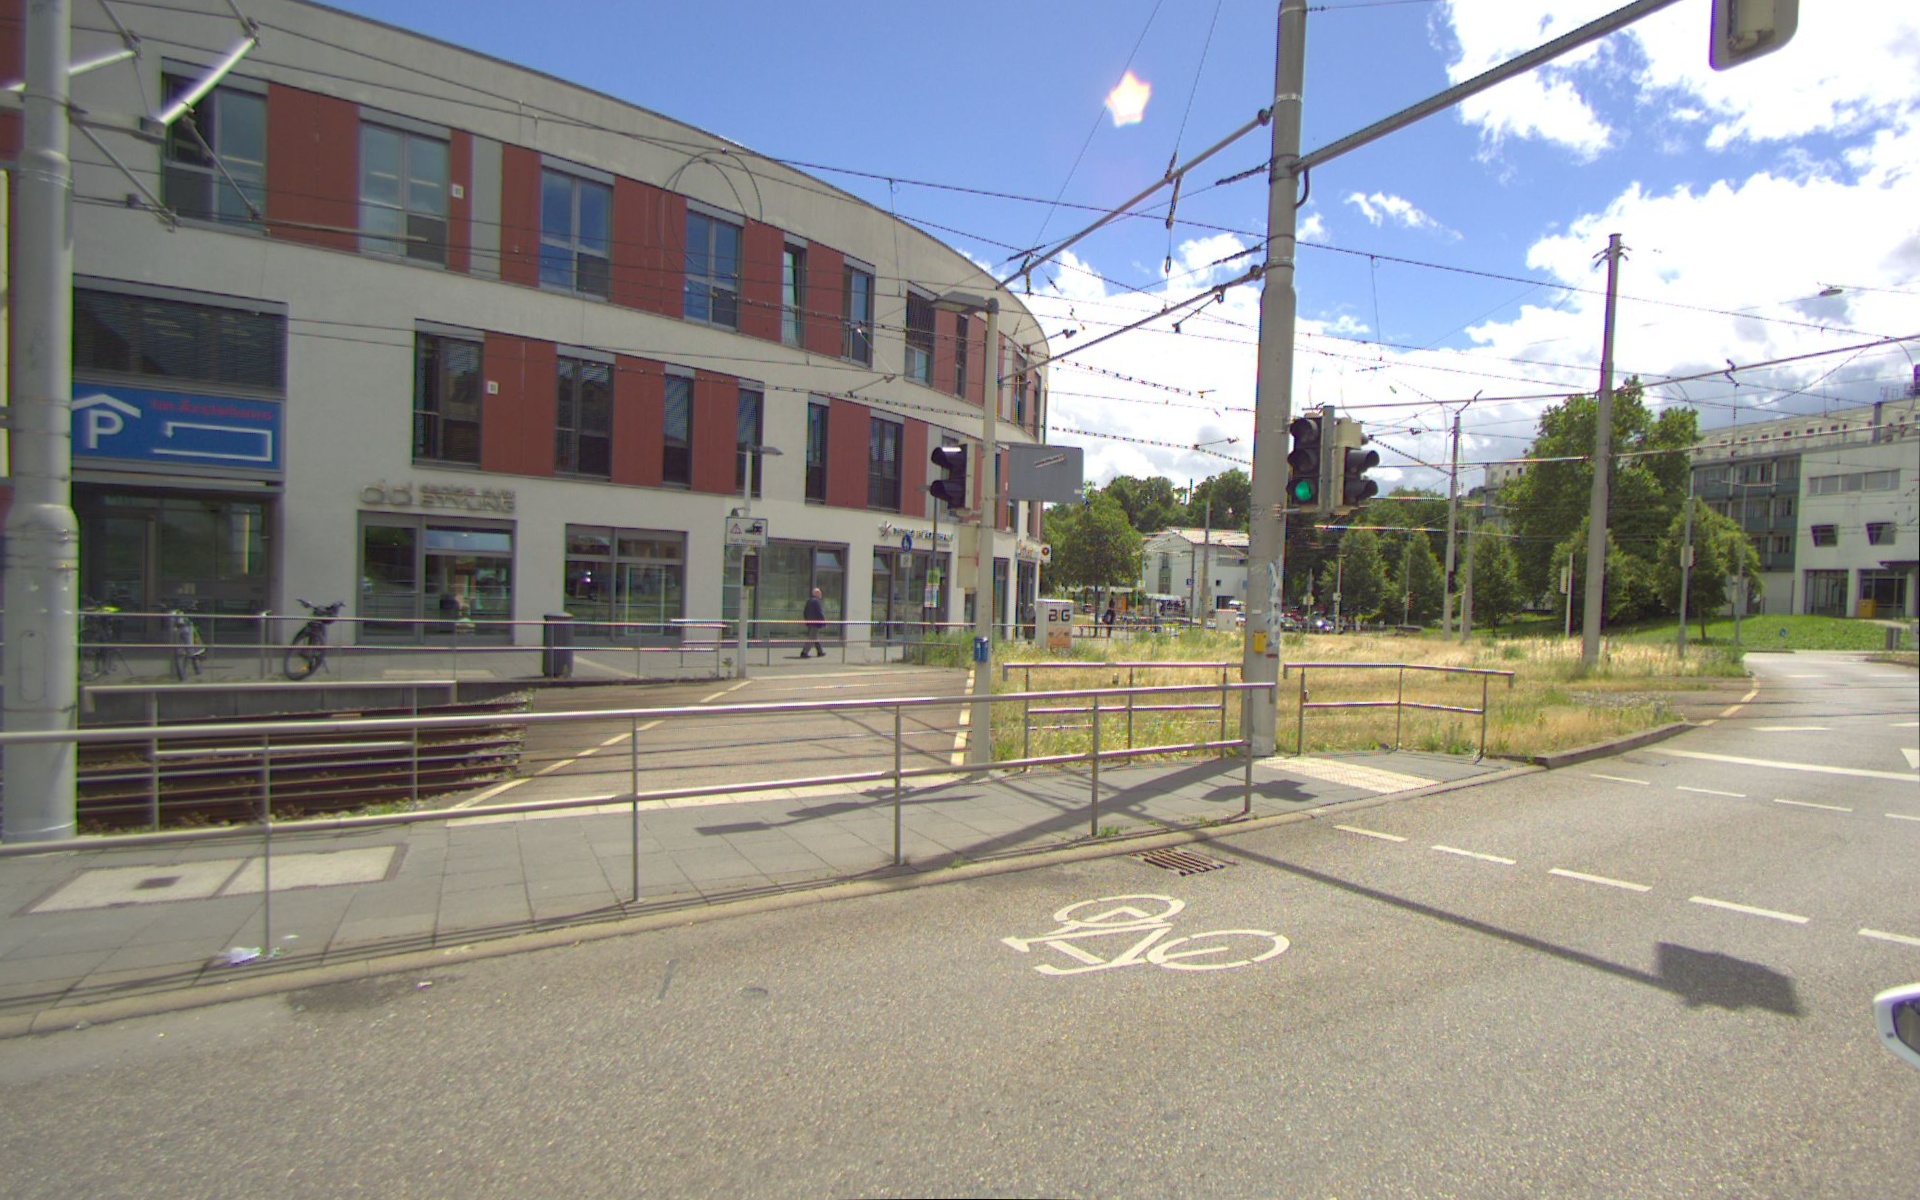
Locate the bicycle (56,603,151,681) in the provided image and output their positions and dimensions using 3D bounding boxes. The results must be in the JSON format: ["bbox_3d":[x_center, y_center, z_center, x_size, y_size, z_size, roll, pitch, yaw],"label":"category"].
[{"bbox_3d":[-11.815,0.549,13.906,0.448,0.976,1.853,2,0,-23],"label":"bicycle"}]

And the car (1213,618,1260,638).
[{"bbox_3d":[24.058,2.409,87.659,1.906,1.576,4.478,2,-1,-15],"label":"car"}]

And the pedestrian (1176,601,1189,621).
[{"bbox_3d":[19.327,0.928,87.239,0.823,1.714,0.616,1,0,-13],"label":"pedestrian"}]

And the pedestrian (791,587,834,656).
[{"bbox_3d":[-3.491,0.501,23.778,0.725,1.601,0.687,1,0,44],"label":"pedestrian"}]

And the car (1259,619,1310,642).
[{"bbox_3d":[26.191,2.444,81.211,1.887,1.672,4.242,2,-1,-15],"label":"car"}]

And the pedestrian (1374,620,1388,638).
[{"bbox_3d":[38.094,2.585,90.813,0.829,1.597,0.812,1,0,-21],"label":"pedestrian"}]

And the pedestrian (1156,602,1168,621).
[{"bbox_3d":[18.122,1.057,90.126,0.743,1.707,0.672,1,0,-13],"label":"pedestrian"}]

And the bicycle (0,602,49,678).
[{"bbox_3d":[-12.758,0.518,13.251,0.448,0.952,1.854,2,0,-22],"label":"bicycle"}]

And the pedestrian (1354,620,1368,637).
[{"bbox_3d":[37.089,2.619,92.945,0.829,1.597,0.812,1,0,-22],"label":"pedestrian"}]

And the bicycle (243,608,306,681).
[{"bbox_3d":[-10.112,0.633,14.849,0.422,0.970,1.731,2,0,-23],"label":"bicycle"}]

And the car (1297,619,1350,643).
[{"bbox_3d":[29.267,2.479,81.046,1.989,1.814,4.226,2,-1,-15],"label":"car"}]

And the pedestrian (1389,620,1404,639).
[{"bbox_3d":[37.941,2.558,87.272,0.829,1.597,0.812,1,0,-21],"label":"pedestrian"}]

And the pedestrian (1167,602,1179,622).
[{"bbox_3d":[18.795,1.022,88.643,0.823,1.755,0.796,1,0,-13],"label":"pedestrian"}]

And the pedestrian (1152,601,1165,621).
[{"bbox_3d":[17.664,0.994,89.419,0.823,1.777,0.796,1,0,-13],"label":"pedestrian"}]

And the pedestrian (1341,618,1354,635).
[{"bbox_3d":[36.684,2.544,95.120,0.829,1.597,0.812,1,0,-21],"label":"pedestrian"}]

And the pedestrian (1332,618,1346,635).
[{"bbox_3d":[35.786,2.498,94.817,0.829,1.597,0.812,1,0,-21],"label":"pedestrian"}]

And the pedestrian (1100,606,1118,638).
[{"bbox_3d":[7.873,1.146,53.114,0.847,1.646,0.733,1,-1,11],"label":"pedestrian"}]

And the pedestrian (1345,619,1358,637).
[{"bbox_3d":[36.157,2.607,92.731,0.829,1.597,0.812,1,0,-22],"label":"pedestrian"}]

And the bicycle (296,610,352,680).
[{"bbox_3d":[-9.566,0.658,15.154,0.422,0.965,1.731,2,0,-23],"label":"bicycle"}]

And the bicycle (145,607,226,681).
[{"bbox_3d":[-10.988,0.595,14.306,0.448,0.948,1.853,2,0,-23],"label":"bicycle"}]

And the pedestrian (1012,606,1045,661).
[{"bbox_3d":[2.553,1.239,37.282,0.848,1.994,1.115,1,-1,23],"label":"pedestrian"}]
